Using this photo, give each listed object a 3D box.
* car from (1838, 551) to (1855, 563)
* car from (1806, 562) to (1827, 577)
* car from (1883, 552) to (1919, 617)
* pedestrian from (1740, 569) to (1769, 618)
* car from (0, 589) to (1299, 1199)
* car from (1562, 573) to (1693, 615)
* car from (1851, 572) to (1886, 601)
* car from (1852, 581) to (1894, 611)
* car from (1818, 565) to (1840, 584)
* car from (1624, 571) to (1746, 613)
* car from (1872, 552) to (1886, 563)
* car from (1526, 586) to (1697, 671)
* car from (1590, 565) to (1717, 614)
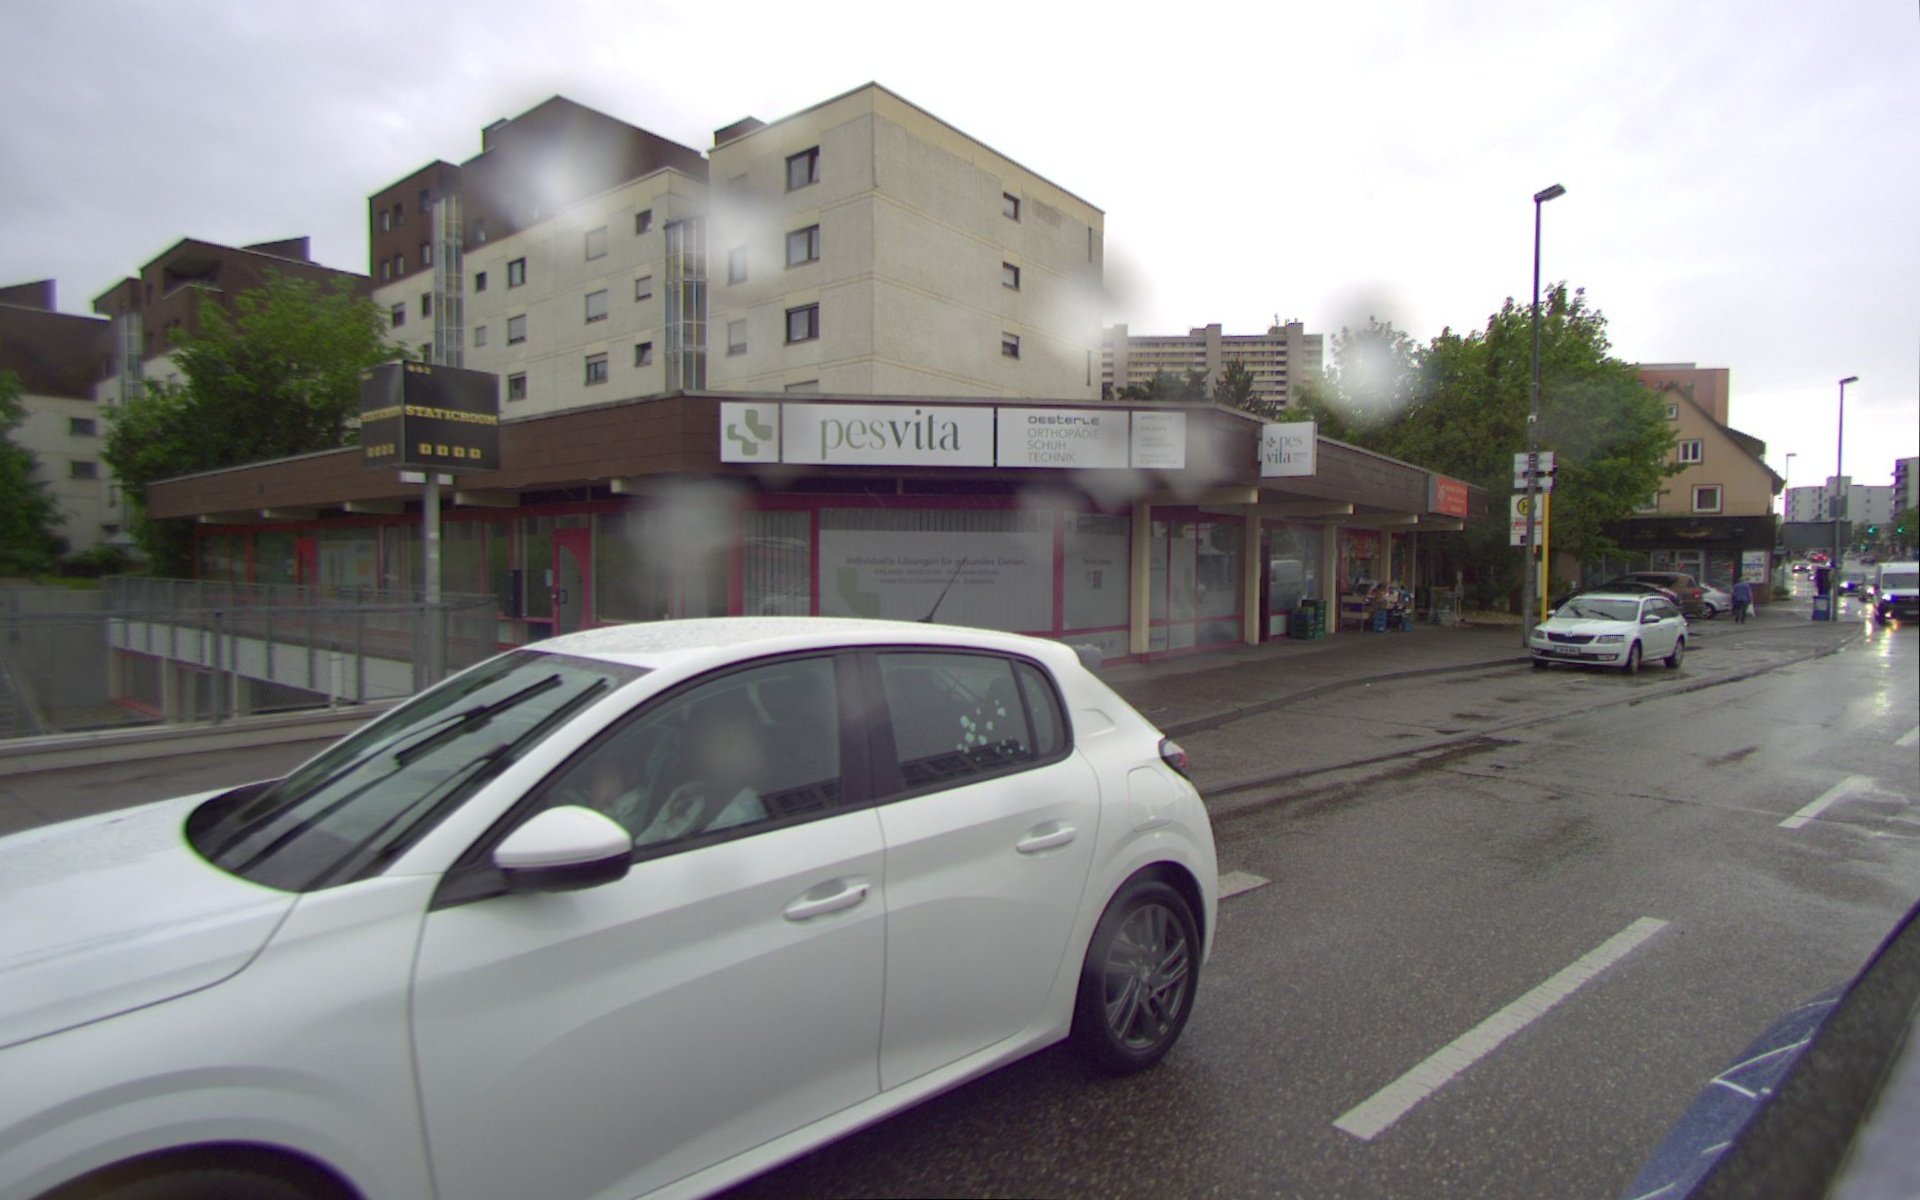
[{"bbox_3d":[133.927,-6.522,152.936,1.657,1.655,3.753,1,1,38],"label":"car"},{"bbox_3d":[115.484,-4.085,136.394,1.992,2.039,3.939,0,1,42],"label":"car"},{"bbox_3d":[40.292,-0.655,42.204,6.020,2.549,2.194,-1,1,-43],"label":"car"},{"bbox_3d":[30.143,-0.248,38.396,0.740,1.804,0.749,0,0,-44],"label":"pedestrian"},{"bbox_3d":[-0.833,0.694,2.994,4.043,1.433,1.665,0,1,-41],"label":"car"},{"bbox_3d":[25.176,-0.254,38.235,3.981,1.445,1.857,2,1,39],"label":"car"},{"bbox_3d":[64.758,-0.935,72.084,1.716,2.025,3.775,0,0,44],"label":"car"},{"bbox_3d":[55.123,-0.238,61.090,1.716,1.772,3.775,1,1,44],"label":"car"},{"bbox_3d":[93.726,-2.720,109.176,1.714,2.025,3.780,0,0,41],"label":"car"},{"bbox_3d":[29.832,-0.327,41.705,3.981,1.614,1.857,2,0,40],"label":"car"},{"bbox_3d":[150.639,-6.946,165.884,1.659,1.655,3.749,1,1,41],"label":"car"},{"bbox_3d":[12.911,0.494,19.975,3.929,1.509,1.788,0,0,-40],"label":"car"},{"bbox_3d":[27.285,-0.446,39.863,3.981,1.802,1.857,2,1,39],"label":"car"}]
